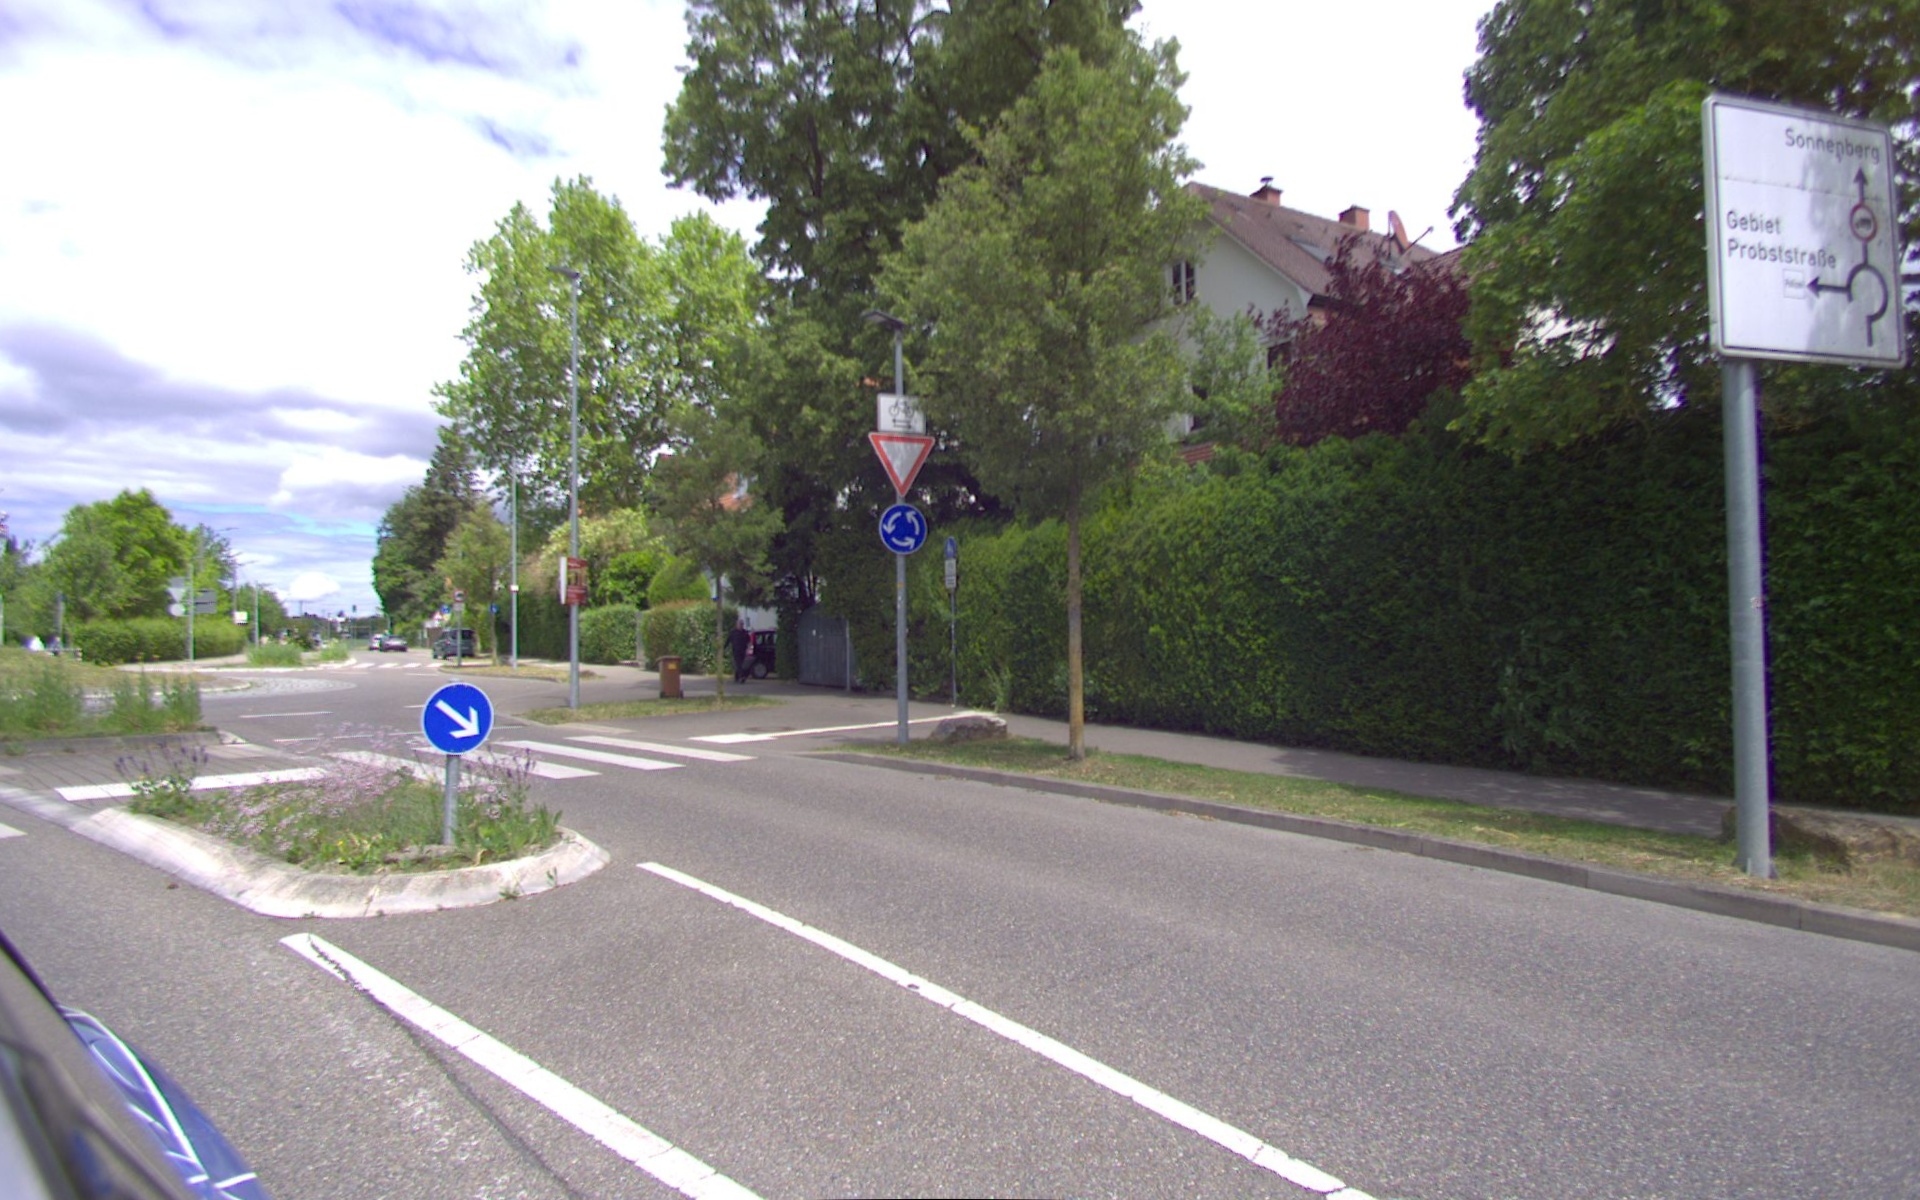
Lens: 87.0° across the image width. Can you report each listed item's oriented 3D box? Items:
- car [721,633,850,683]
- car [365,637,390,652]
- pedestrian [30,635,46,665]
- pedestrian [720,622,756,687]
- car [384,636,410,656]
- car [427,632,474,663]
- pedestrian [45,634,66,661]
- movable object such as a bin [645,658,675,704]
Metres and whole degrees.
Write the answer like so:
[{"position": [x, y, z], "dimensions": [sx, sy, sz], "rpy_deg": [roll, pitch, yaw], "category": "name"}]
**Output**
[{"position": [-5.356, 1.793, 31.178], "dimensions": [3.518, 1.408, 1.670], "rpy_deg": [4, -3, -32], "category": "car"}, {"position": [-66.801, 5.122, 115.993], "dimensions": [1.967, 1.719, 4.009], "rpy_deg": [2, -3, -37], "category": "car"}, {"position": [-53.091, 2.863, 58.274], "dimensions": [0.566, 1.710, 0.600], "rpy_deg": [-2, -3, 37], "category": "pedestrian"}, {"position": [-5.965, 1.440, 27.197], "dimensions": [0.733, 1.704, 0.696], "rpy_deg": [0, -1, -31], "category": "pedestrian"}, {"position": [-49.970, 4.055, 89.736], "dimensions": [1.832, 1.589, 4.011], "rpy_deg": [0, -1, -32], "category": "car"}, {"position": [-28.654, 2.637, 56.872], "dimensions": [1.654, 1.674, 4.009], "rpy_deg": [1, -2, -36], "category": "car"}, {"position": [-52.696, 2.748, 58.953], "dimensions": [0.600, 1.569, 0.755], "rpy_deg": [-1, -2, 35], "category": "pedestrian"}, {"position": [-6.380, 1.716, 21.526], "dimensions": [0.410, 0.942, 0.437], "rpy_deg": [-1, -3, 29], "category": "movable object such as a bin"}]
